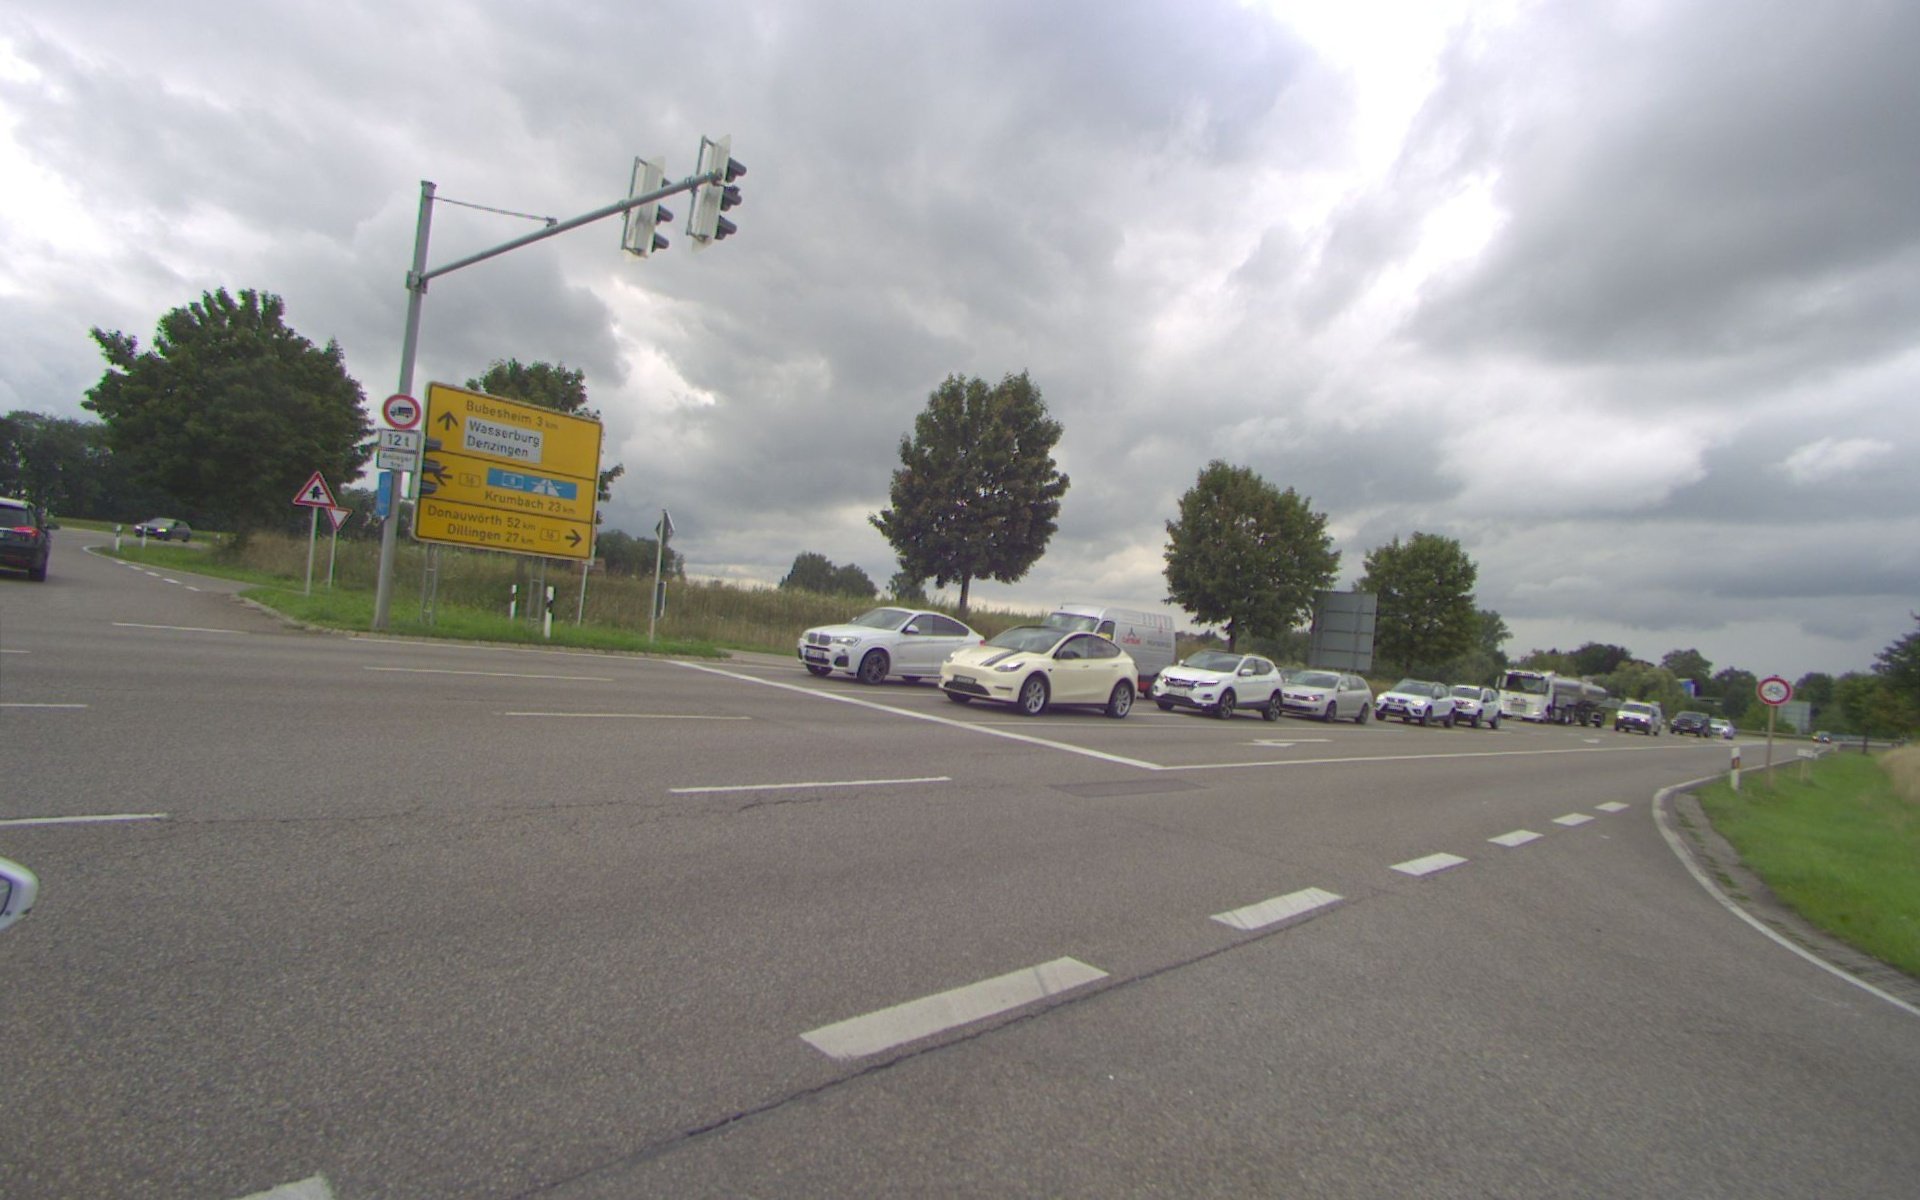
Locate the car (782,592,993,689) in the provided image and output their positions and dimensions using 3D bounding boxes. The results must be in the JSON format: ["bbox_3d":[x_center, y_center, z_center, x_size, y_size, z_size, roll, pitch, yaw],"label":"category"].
[{"bbox_3d":[-1.461,0.909,21.561,1.973,1.648,4.256,4,-3,41],"label":"car"}]

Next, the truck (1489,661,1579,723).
[{"bbox_3d":[34.996,5.637,61.202,3.066,3.146,7.373,6,-2,42],"label":"truck"}]

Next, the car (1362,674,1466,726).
[{"bbox_3d":[16.127,3.563,35.613,1.973,1.435,4.425,6,-2,43],"label":"car"}]

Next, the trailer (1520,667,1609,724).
[{"bbox_3d":[40.939,6.528,67.949,3.066,3.127,10.613,6,-2,42],"label":"trailer"}]

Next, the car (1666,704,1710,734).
[{"bbox_3d":[58.220,9.531,80.439,2.141,2.037,4.504,6,-2,43],"label":"car"}]

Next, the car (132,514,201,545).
[{"bbox_3d":[-54.286,-4.803,68.923,1.970,1.521,4.653,7,-1,-16],"label":"car"}]

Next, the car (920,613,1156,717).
[{"bbox_3d":[1.621,1.297,19.229,1.973,1.583,4.727,4,-3,42],"label":"car"}]

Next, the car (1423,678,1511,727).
[{"bbox_3d":[20.270,4.110,40.133,1.972,1.611,4.427,6,-2,41],"label":"car"}]

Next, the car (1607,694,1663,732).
[{"bbox_3d":[43.399,7.291,64.657,2.141,2.037,4.657,6,-2,43],"label":"car"}]

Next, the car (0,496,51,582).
[{"bbox_3d":[-18.758,-1.252,19.272,1.802,1.468,4.221,7,-2,-43],"label":"car"}]

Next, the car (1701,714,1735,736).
[{"bbox_3d":[66.743,10.992,88.570,2.138,1.615,4.739,6,-2,38],"label":"car"}]

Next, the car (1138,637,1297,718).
[{"bbox_3d":[6.493,1.970,25.085,1.973,1.648,4.303,4,-3,42],"label":"car"}]

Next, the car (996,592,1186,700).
[{"bbox_3d":[3.765,1.355,27.989,2.367,2.470,5.486,4,-3,42],"label":"car"}]

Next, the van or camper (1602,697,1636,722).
[{"bbox_3d":[61.567,10.225,93.953,1.974,2.036,3.981,3,-4,42],"label":"van or camper"}]

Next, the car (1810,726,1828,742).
[{"bbox_3d":[129.176,20.107,151.262,1.972,2.037,4.483,6,-2,41],"label":"car"}]

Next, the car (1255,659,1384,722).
[{"bbox_3d":[10.738,2.725,29.863,1.972,1.472,4.561,6,-2,41],"label":"car"}]
